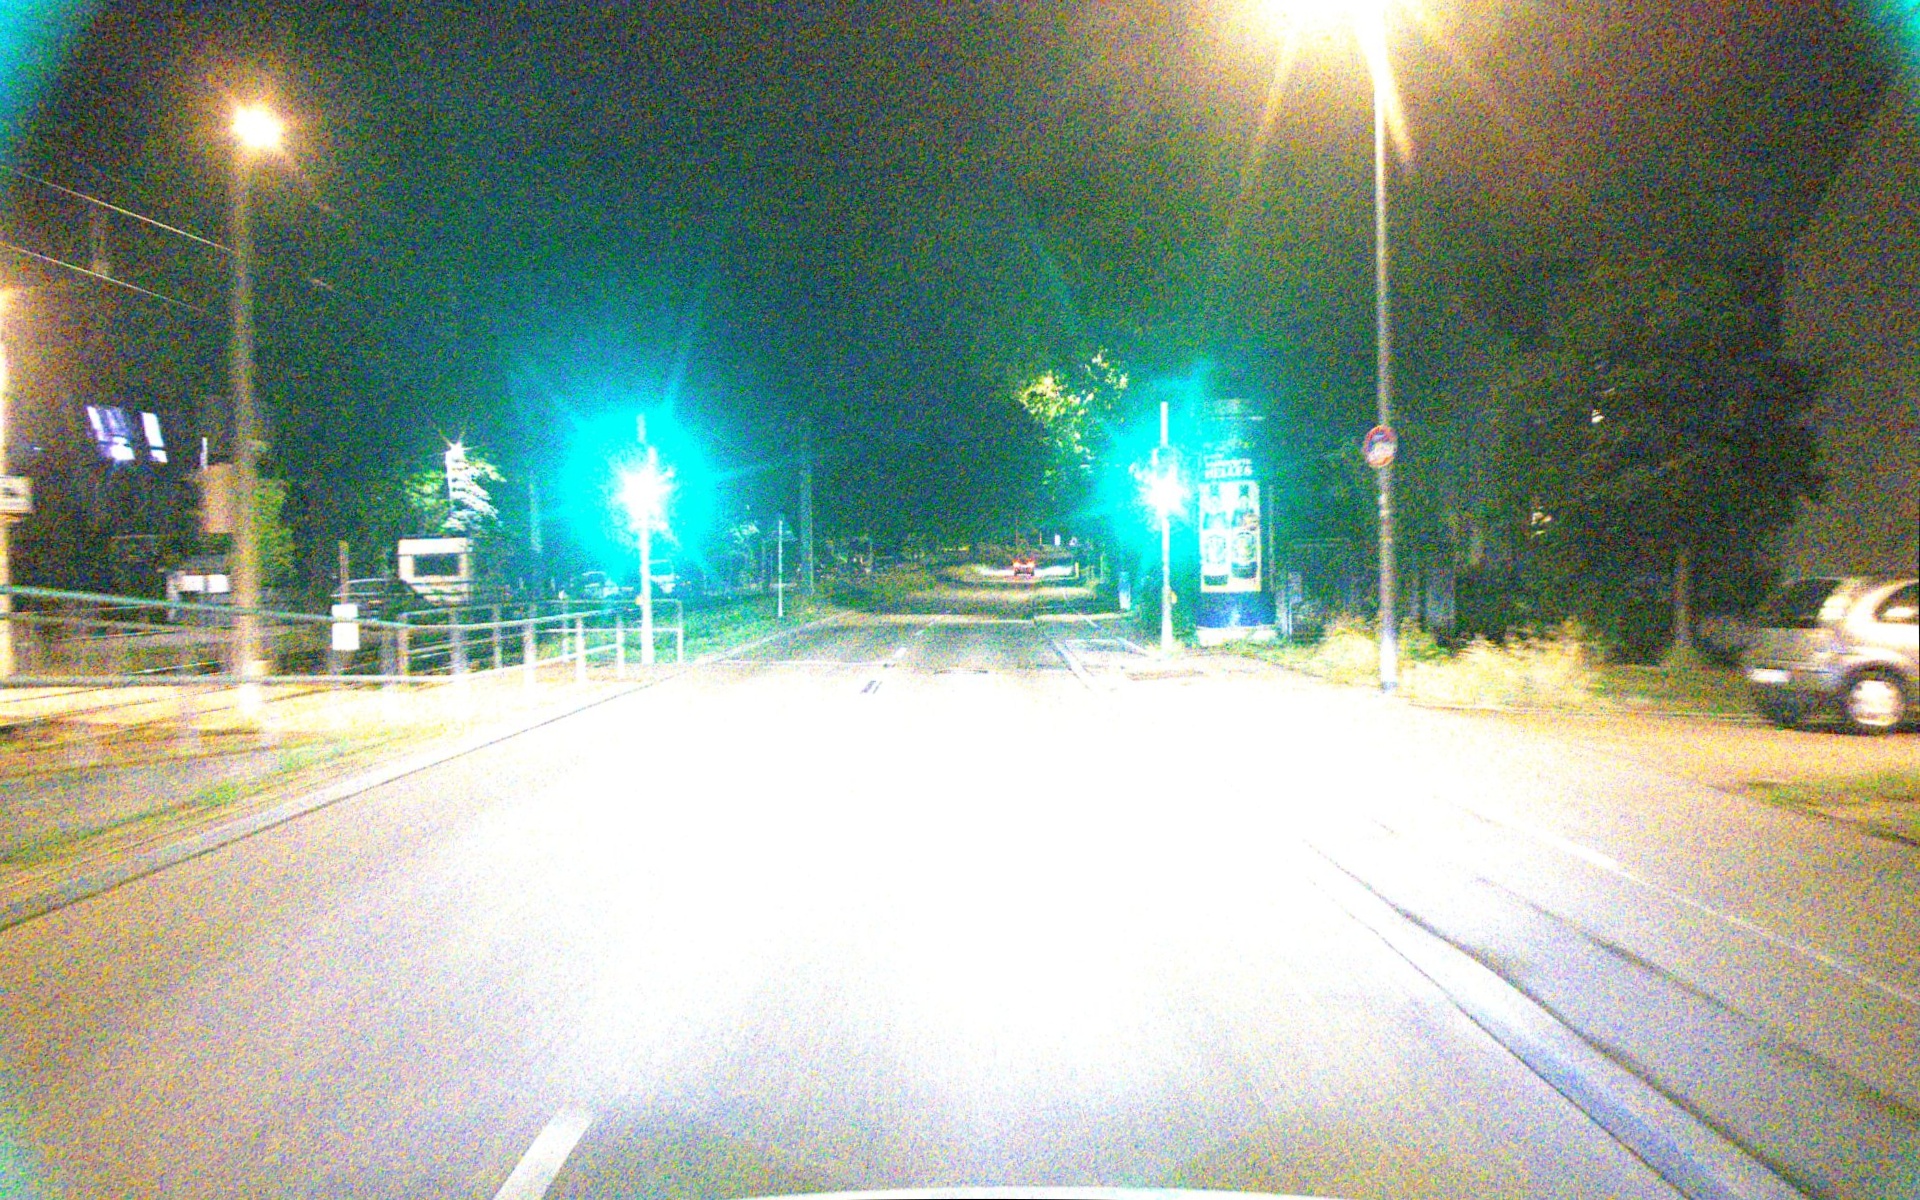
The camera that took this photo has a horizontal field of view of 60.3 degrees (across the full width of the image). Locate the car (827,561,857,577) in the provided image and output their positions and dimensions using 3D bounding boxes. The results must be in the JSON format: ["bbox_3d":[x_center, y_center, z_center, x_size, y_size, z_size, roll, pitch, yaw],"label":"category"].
[{"bbox_3d":[-10.291,-2.712,144.524,1.952,1.361,5.434,-1,1,2],"label":"car"}]

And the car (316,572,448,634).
[{"bbox_3d":[-14.978,0.029,43.134,1.612,1.362,4.544,-5,1,2],"label":"car"}]

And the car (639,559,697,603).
[{"bbox_3d":[-13.483,-0.908,76.604,1.819,1.937,4.880,0,1,0],"label":"car"}]

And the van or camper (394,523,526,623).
[{"bbox_3d":[-14.867,-0.825,49.554,2.227,2.693,5.663,-3,1,-1],"label":"van or camper"}]

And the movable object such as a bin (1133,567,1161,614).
[{"bbox_3d":[5.006,-0.255,44.245,0.708,1.221,0.720,-1,1,10],"label":"movable object such as a bin"}]

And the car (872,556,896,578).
[{"bbox_3d":[-8.077,-3.496,175.043,2.048,2.048,4.002,-5,2,2],"label":"car"}]

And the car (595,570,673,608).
[{"bbox_3d":[-13.854,-0.499,70.535,1.862,1.548,5.175,0,1,5],"label":"car"}]

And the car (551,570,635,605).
[{"bbox_3d":[-14.421,-0.501,65.045,2.967,1.349,1.533,-1,1,-2],"label":"car"}]

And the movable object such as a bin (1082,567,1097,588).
[{"bbox_3d":[7.357,-1.278,93.966,0.816,1.202,0.829,0,1,5],"label":"movable object such as a bin"}]

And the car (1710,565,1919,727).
[{"bbox_3d":[9.126,0.383,15.139,3.687,1.377,1.859,0,1,0],"label":"car"}]

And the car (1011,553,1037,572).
[{"bbox_3d":[5.695,-3.335,147.522,2.117,1.610,4.013,0,1,0],"label":"car"}]

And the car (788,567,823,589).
[{"bbox_3d":[-11.637,-1.681,124.777,1.952,1.656,4.679,-1,1,2],"label":"car"}]

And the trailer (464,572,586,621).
[{"bbox_3d":[-14.751,-0.146,56.432,2.368,1.398,4.659,-4,1,7],"label":"trailer"}]
